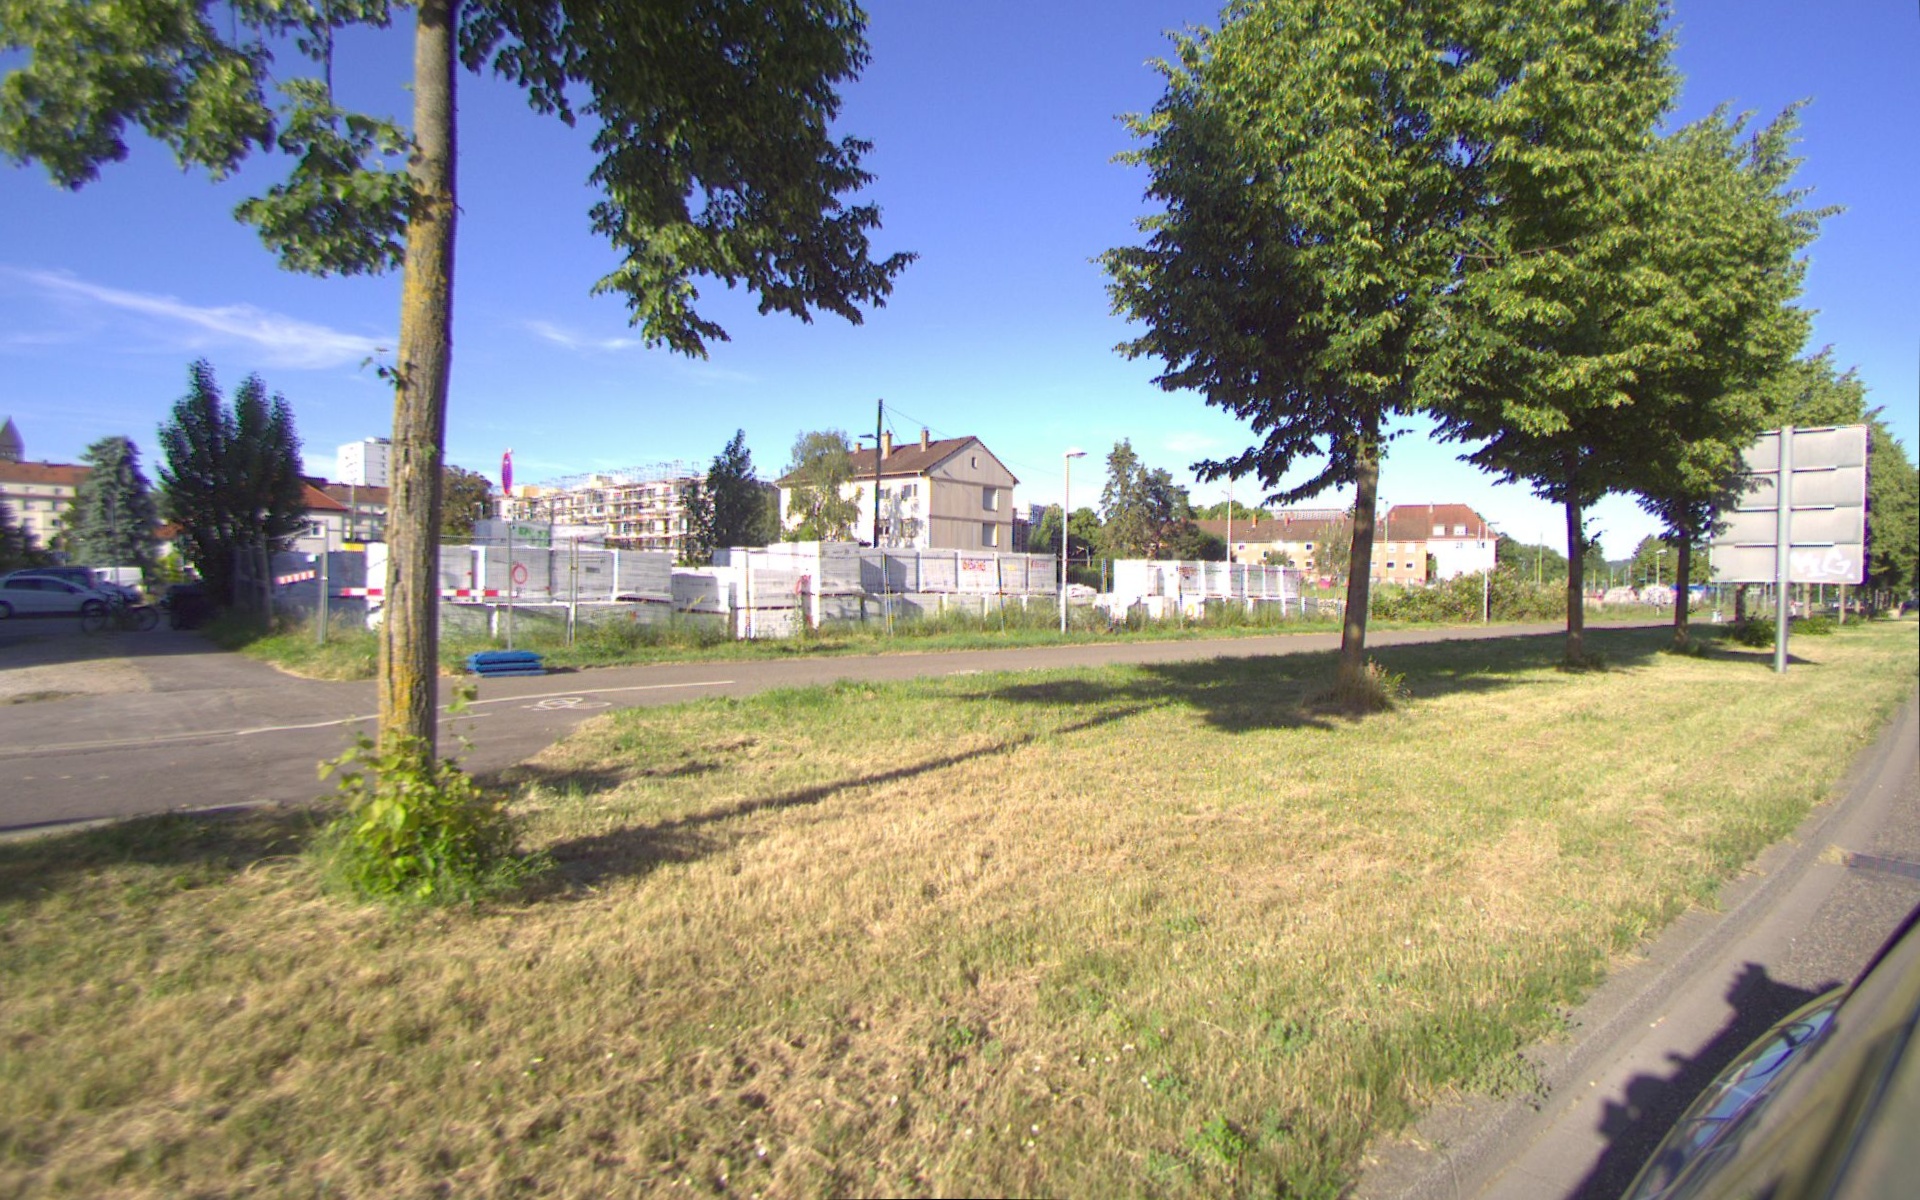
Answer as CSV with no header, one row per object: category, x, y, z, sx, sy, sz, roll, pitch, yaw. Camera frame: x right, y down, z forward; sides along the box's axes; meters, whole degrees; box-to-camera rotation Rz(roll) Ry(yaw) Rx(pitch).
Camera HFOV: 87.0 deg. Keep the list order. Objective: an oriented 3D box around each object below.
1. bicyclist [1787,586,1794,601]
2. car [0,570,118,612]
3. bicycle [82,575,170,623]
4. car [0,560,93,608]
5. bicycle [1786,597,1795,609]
bicyclist,83.835,-0.636,102.176,0.503,1.491,0.820,1,1,44
car,-33.074,-0.338,36.627,3.932,1.482,1.673,0,1,-43
bicycle,-21.297,-0.031,25.878,1.715,1.206,0.584,0,1,-40
car,-37.188,-0.637,40.346,3.932,1.872,1.673,0,1,-43
bicycle,83.848,0.274,102.184,0.506,1.166,1.579,4,3,44
